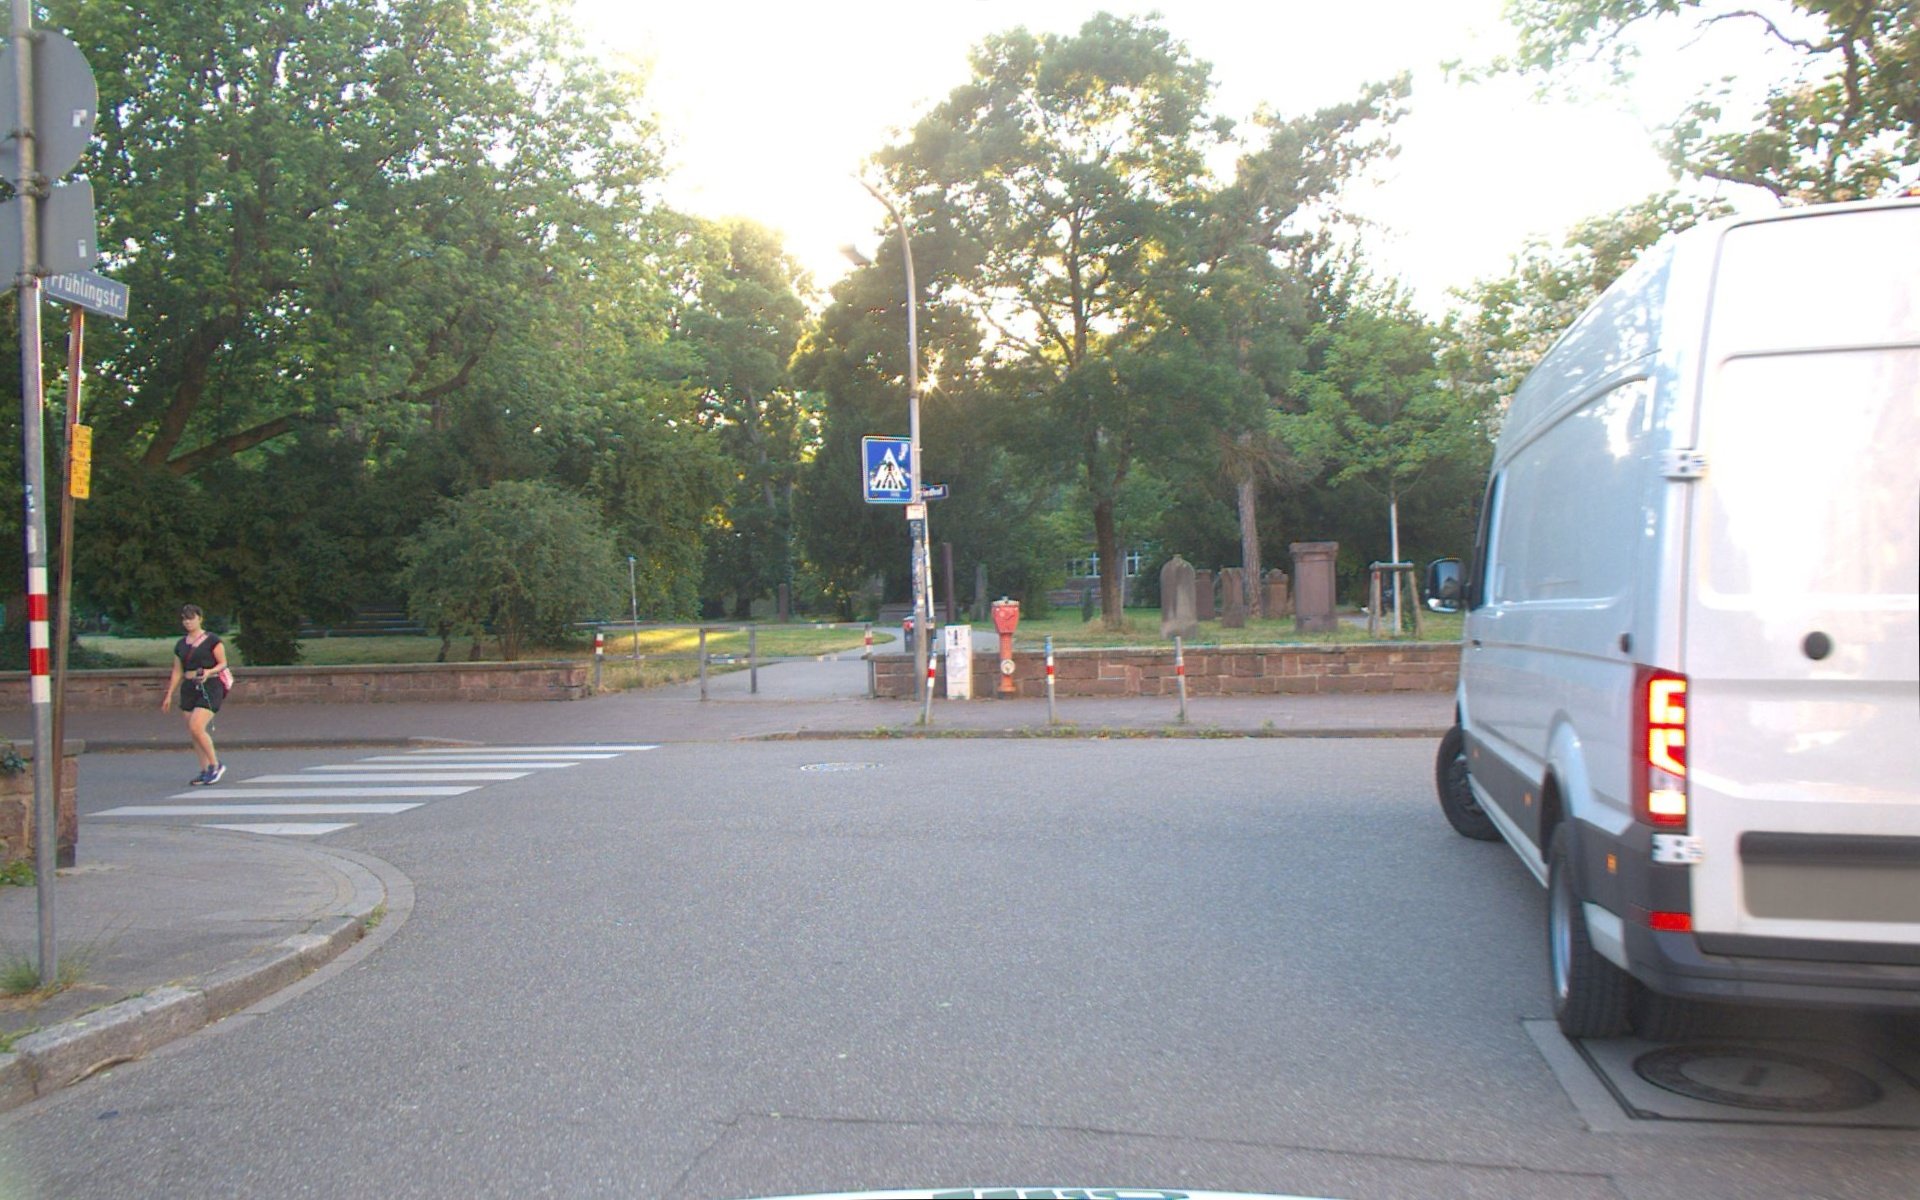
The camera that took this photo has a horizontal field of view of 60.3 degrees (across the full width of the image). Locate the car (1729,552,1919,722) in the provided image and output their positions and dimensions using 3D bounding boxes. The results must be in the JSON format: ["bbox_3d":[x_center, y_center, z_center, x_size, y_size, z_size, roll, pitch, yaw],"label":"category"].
[{"bbox_3d":[10.004,0.318,16.527,3.772,1.601,1.960,-1,1,8],"label":"car"}]

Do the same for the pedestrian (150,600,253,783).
[{"bbox_3d":[-7.175,0.850,15.662,0.633,1.677,0.674,0,1,5],"label":"pedestrian"}]

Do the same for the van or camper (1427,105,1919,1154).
[{"bbox_3d":[3.338,0.068,7.290,1.951,2.664,6.408,0,0,11],"label":"van or camper"}]

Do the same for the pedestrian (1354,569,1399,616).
[{"bbox_3d":[13.669,-0.252,54.257,1.300,1.469,1.047,-2,0,8],"label":"pedestrian"}]
